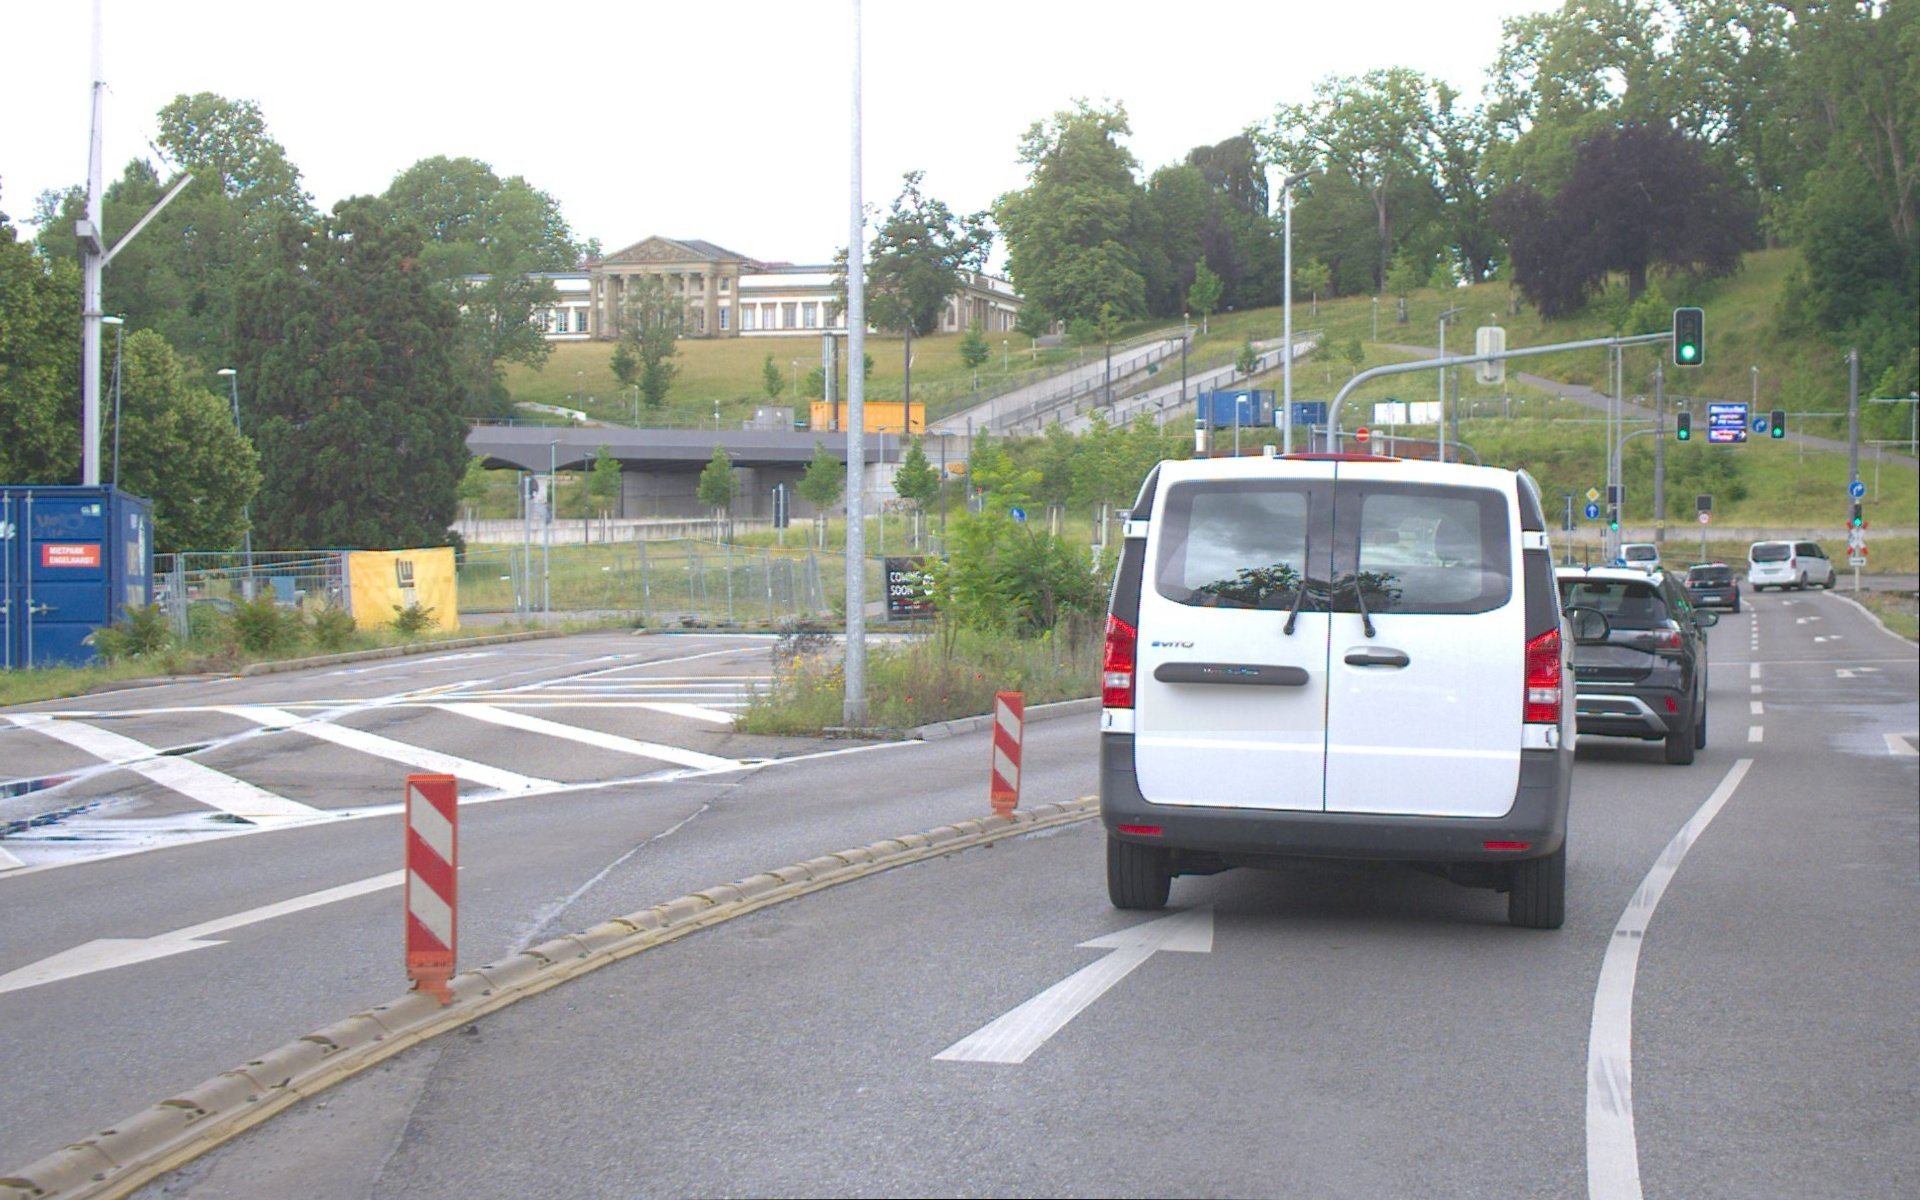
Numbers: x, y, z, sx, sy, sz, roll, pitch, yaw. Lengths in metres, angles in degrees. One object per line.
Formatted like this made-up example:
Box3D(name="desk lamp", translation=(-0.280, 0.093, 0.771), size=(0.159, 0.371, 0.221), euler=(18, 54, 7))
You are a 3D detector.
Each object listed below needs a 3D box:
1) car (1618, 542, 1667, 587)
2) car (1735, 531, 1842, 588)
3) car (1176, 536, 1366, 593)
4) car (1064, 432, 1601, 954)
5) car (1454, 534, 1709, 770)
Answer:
Box3D(name="car", translation=(27.918, -1.439, 140.734), size=(1.753, 1.766, 3.998), euler=(2, 1, 9))
Box3D(name="car", translation=(30.989, -1.501, 128.526), size=(2.205, 2.007, 5.141), euler=(1, 1, 34))
Box3D(name="car", translation=(8.451, -0.969, 93.444), size=(4.715, 1.472, 1.998), euler=(0, 1, 24))
Box3D(name="car", translation=(1.767, 0.325, 15.163), size=(1.960, 1.897, 4.459), euler=(2, 1, 10))
Box3D(name="car", translation=(5.145, 0.379, 28.098), size=(1.839, 1.723, 4.060), euler=(2, 1, 13))
